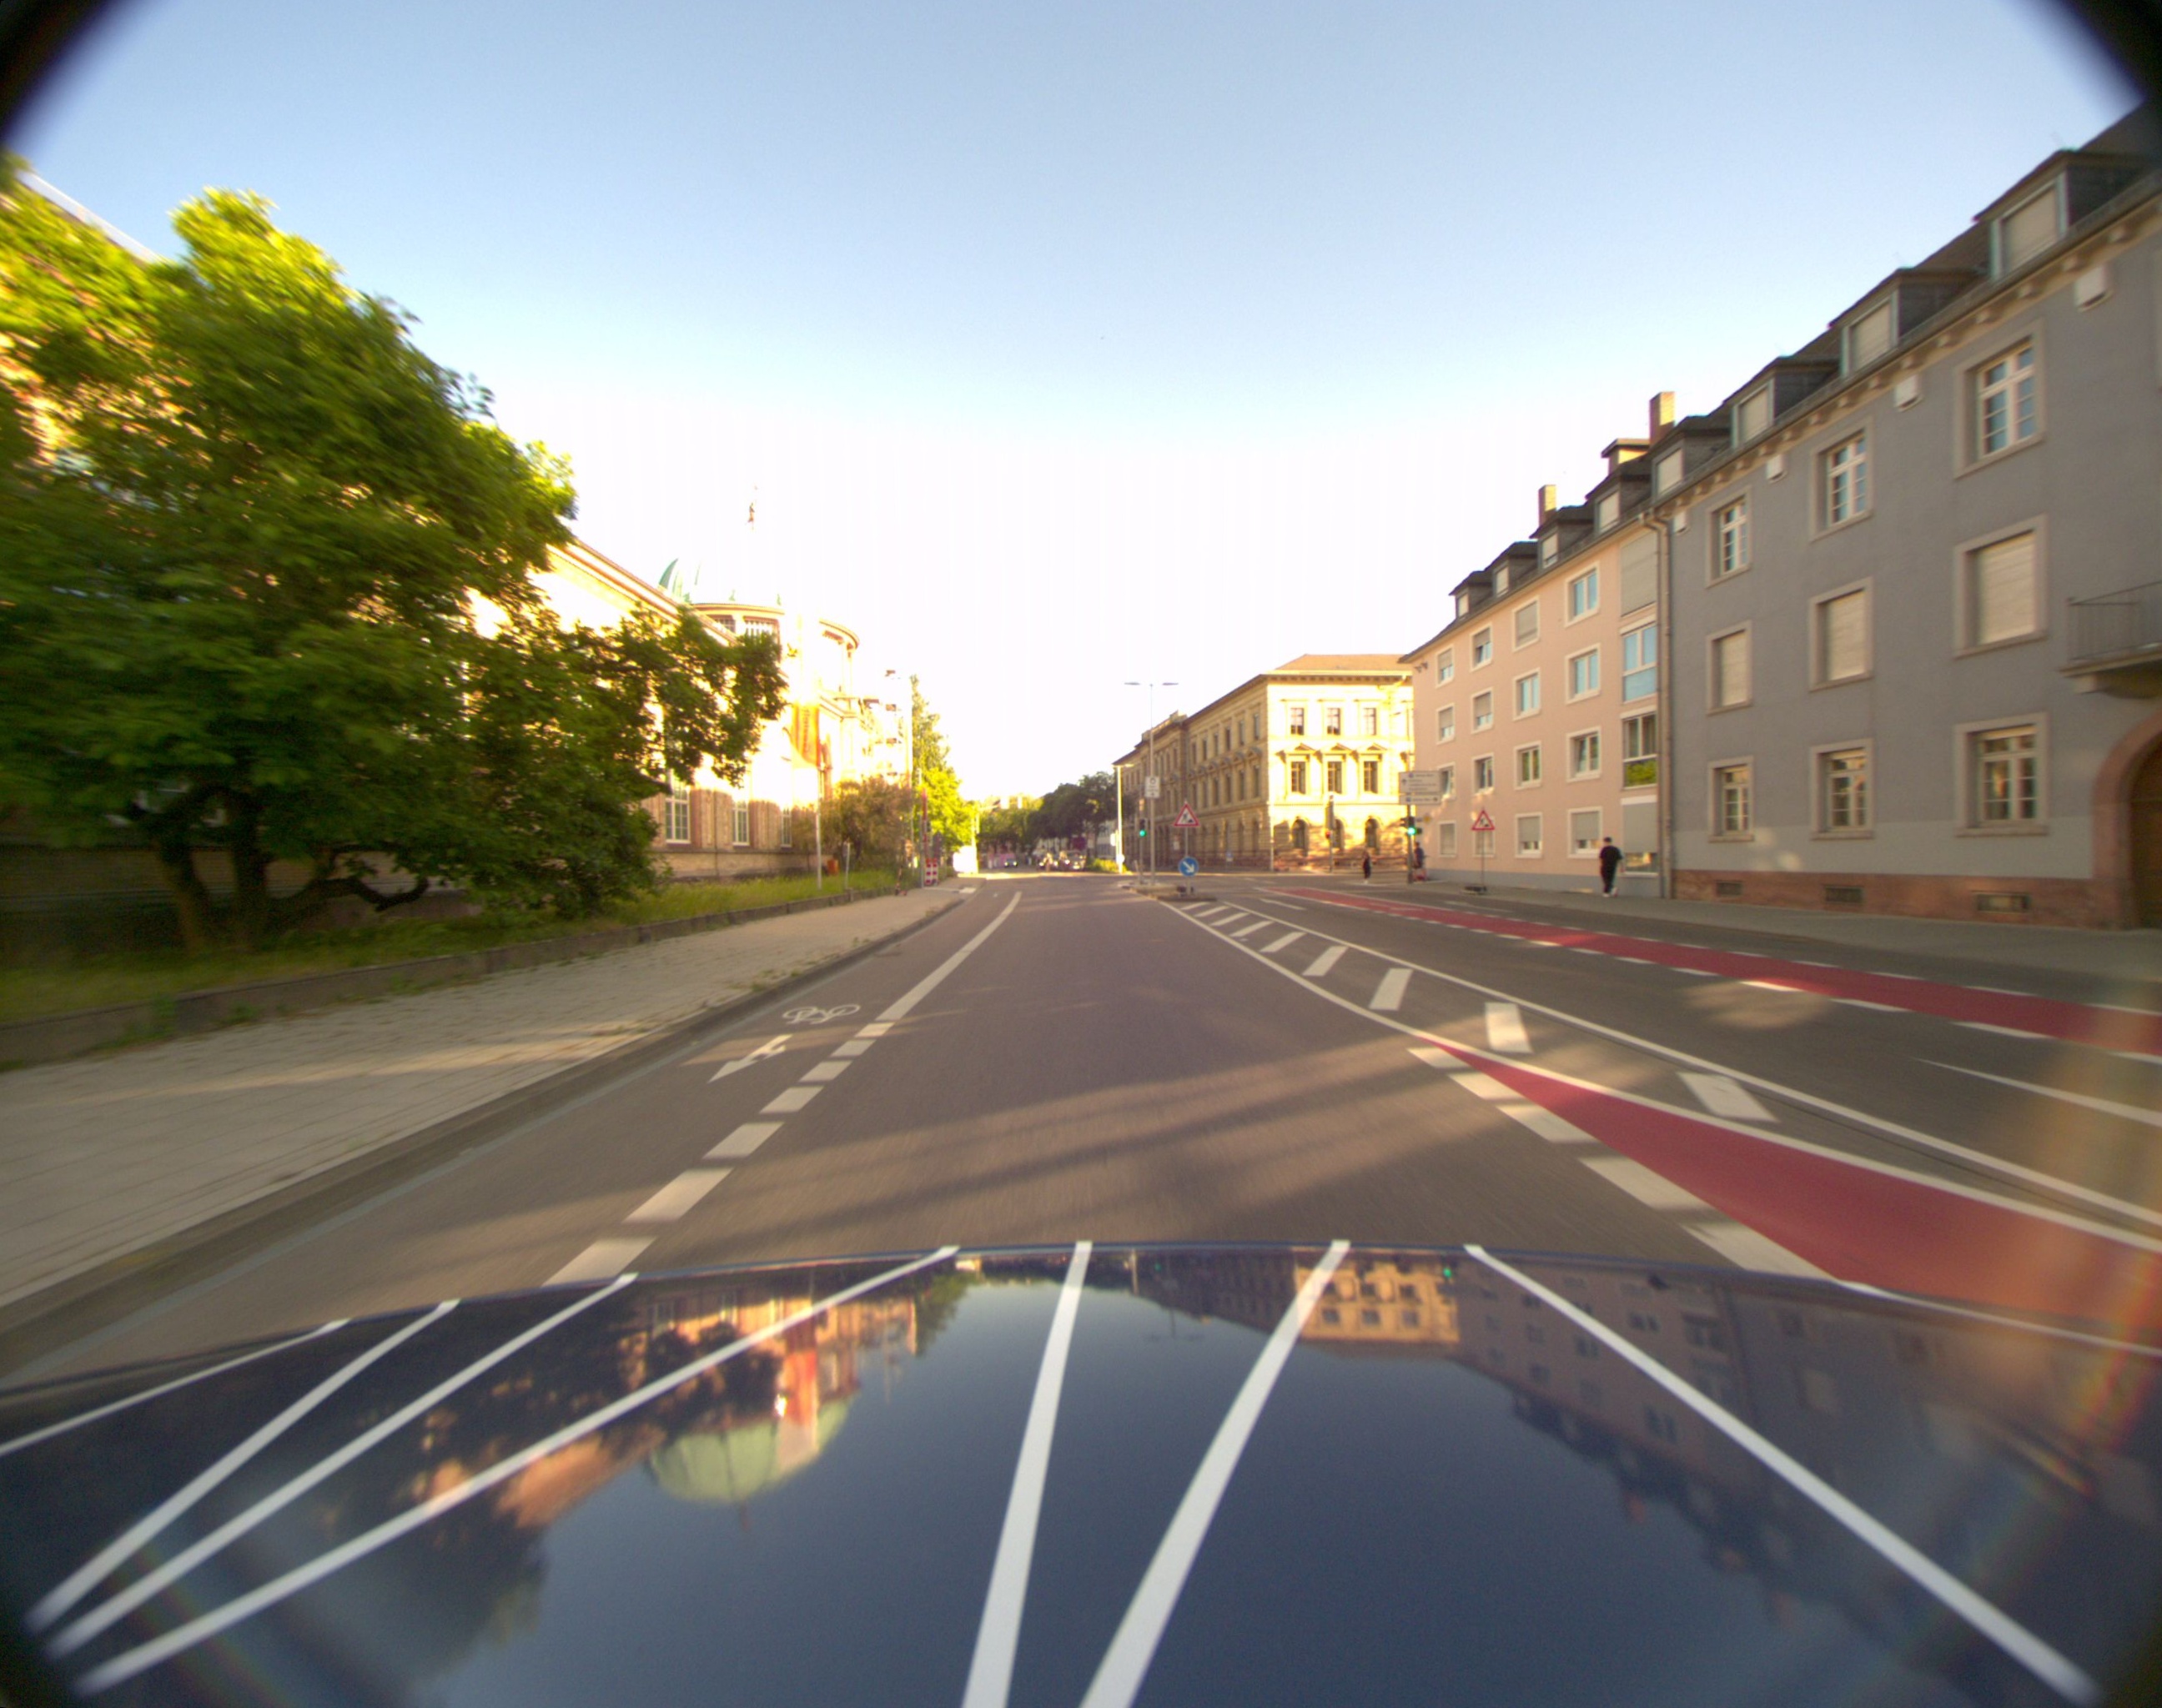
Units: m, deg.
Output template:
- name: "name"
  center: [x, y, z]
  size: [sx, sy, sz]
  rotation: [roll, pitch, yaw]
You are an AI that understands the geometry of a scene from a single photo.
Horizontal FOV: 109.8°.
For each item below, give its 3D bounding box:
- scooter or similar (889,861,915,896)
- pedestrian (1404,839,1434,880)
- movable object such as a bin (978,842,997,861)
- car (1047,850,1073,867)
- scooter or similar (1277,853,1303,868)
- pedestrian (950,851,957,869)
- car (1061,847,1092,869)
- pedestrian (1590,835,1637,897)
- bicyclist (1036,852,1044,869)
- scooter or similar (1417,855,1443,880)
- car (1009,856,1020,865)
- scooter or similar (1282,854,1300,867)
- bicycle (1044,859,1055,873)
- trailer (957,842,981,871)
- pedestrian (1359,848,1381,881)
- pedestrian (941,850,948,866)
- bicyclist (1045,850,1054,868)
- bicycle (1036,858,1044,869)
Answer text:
- name: "scooter or similar"
  center: [-7.000, 0.939, 29.751]
  size: [0.557, 1.301, 1.832]
  rotation: [-1, 0, -1]
- name: "pedestrian"
  center: [15.803, 0.271, 35.504]
  size: [0.870, 1.852, 1.015]
  rotation: [-3, 0, 1]
- name: "movable object such as a bin"
  center: [-16.697, -0.504, 135.417]
  size: [3.173, 3.281, 4.381]
  rotation: [0, 0, -11]
- name: "car"
  center: [-2.262, 0.509, 80.599]
  size: [1.998, 1.739, 4.742]
  rotation: [-1, 0, -11]
- name: "scooter or similar"
  center: [16.988, 0.527, 61.762]
  size: [2.029, 1.181, 0.457]
  rotation: [-1, 1, 21]
- name: "pedestrian"
  center: [-13.479, 0.649, 80.516]
  size: [0.717, 1.883, 0.889]
  rotation: [0, 0, -11]
- name: "car"
  center: [-0.471, 0.324, 69.534]
  size: [2.075, 1.904, 5.028]
  rotation: [-1, 1, -9]
- name: "pedestrian"
  center: [16.257, 0.356, 23.212]
  size: [0.633, 1.836, 1.013]
  rotation: [-4, 1, 0]
- name: "bicyclist"
  center: [-4.250, 0.667, 78.593]
  size: [0.674, 1.643, 0.886]
  rotation: [-2, 1, -8]
- name: "scooter or similar"
  center: [16.612, 0.631, 36.209]
  size: [0.534, 1.179, 1.474]
  rotation: [-2, 0, 1]
- name: "car"
  center: [-9.370, 0.896, 107.049]
  size: [1.554, 1.288, 3.636]
  rotation: [2, 0, -4]
- name: "scooter or similar"
  center: [17.336, 0.569, 62.722]
  size: [1.331, 1.046, 0.393]
  rotation: [-1, 1, -4]
- name: "bicycle"
  center: [-2.871, 1.087, 68.952]
  size: [0.831, 1.136, 1.968]
  rotation: [-2, 0, -6]
- name: "trailer"
  center: [-10.157, 0.237, 69.161]
  size: [2.086, 2.513, 4.489]
  rotation: [1, 0, -7]
- name: "pedestrian"
  center: [14.053, 0.505, 36.956]
  size: [0.633, 1.574, 0.818]
  rotation: [-4, 1, 0]
- name: "pedestrian"
  center: [-14.254, 0.459, 79.508]
  size: [0.684, 1.691, 0.693]
  rotation: [0, 0, -9]
- name: "bicyclist"
  center: [-2.862, 0.470, 68.960]
  size: [0.805, 1.599, 0.824]
  rotation: [-1, 1, -6]
- name: "bicycle"
  center: [-4.236, 1.003, 78.621]
  size: [0.671, 1.066, 1.752]
  rotation: [-2, 1, -7]
